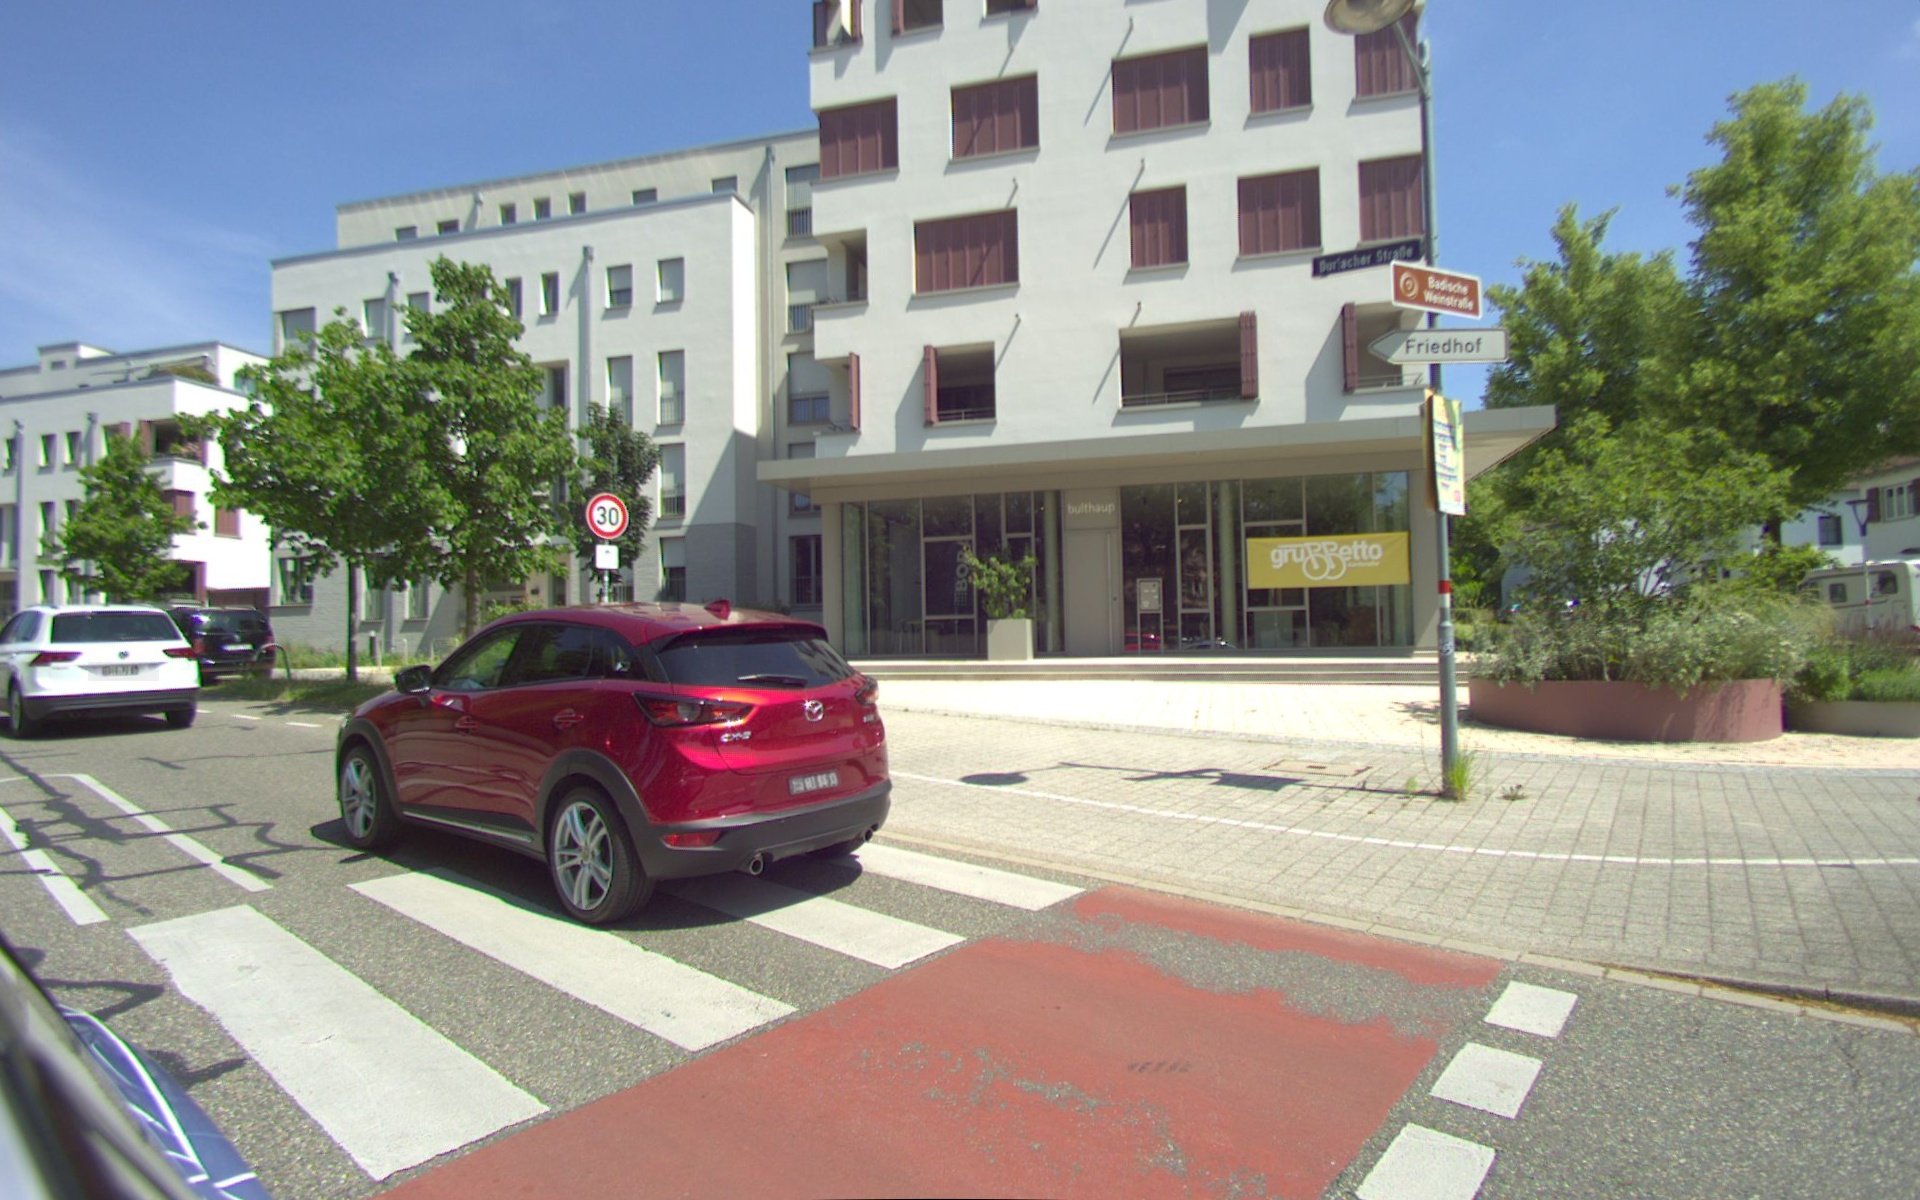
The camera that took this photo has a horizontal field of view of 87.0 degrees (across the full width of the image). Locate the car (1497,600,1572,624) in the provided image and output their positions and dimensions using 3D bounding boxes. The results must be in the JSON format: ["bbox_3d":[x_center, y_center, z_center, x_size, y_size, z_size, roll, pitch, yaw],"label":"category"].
[{"bbox_3d":[39.538,0.828,69.716,4.069,1.621,1.813,-1,-1,6],"label":"car"}]

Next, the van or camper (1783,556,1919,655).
[{"bbox_3d":[27.466,0.116,29.844,2.251,2.658,5.864,-4,-2,11],"label":"van or camper"}]

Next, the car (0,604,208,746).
[{"bbox_3d":[-11.800,0.895,13.524,4.114,1.621,1.793,-1,-1,38],"label":"car"}]

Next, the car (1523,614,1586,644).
[{"bbox_3d":[31.788,1.553,54.229,1.738,1.516,3.976,-1,-1,12],"label":"car"}]

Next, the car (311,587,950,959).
[{"bbox_3d":[-2.152,0.760,6.062,3.987,1.516,1.734,-2,-2,38],"label":"car"}]

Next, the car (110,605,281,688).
[{"bbox_3d":[-16.542,0.966,21.858,4.008,1.650,1.681,-1,-1,33],"label":"car"}]

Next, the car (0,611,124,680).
[{"bbox_3d":[-23.822,1.161,26.714,3.616,1.713,1.681,-1,-1,33],"label":"car"}]

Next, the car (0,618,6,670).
[{"bbox_3d":[-31.919,1.392,31.792,3.610,1.602,1.774,-1,-1,28],"label":"car"}]
